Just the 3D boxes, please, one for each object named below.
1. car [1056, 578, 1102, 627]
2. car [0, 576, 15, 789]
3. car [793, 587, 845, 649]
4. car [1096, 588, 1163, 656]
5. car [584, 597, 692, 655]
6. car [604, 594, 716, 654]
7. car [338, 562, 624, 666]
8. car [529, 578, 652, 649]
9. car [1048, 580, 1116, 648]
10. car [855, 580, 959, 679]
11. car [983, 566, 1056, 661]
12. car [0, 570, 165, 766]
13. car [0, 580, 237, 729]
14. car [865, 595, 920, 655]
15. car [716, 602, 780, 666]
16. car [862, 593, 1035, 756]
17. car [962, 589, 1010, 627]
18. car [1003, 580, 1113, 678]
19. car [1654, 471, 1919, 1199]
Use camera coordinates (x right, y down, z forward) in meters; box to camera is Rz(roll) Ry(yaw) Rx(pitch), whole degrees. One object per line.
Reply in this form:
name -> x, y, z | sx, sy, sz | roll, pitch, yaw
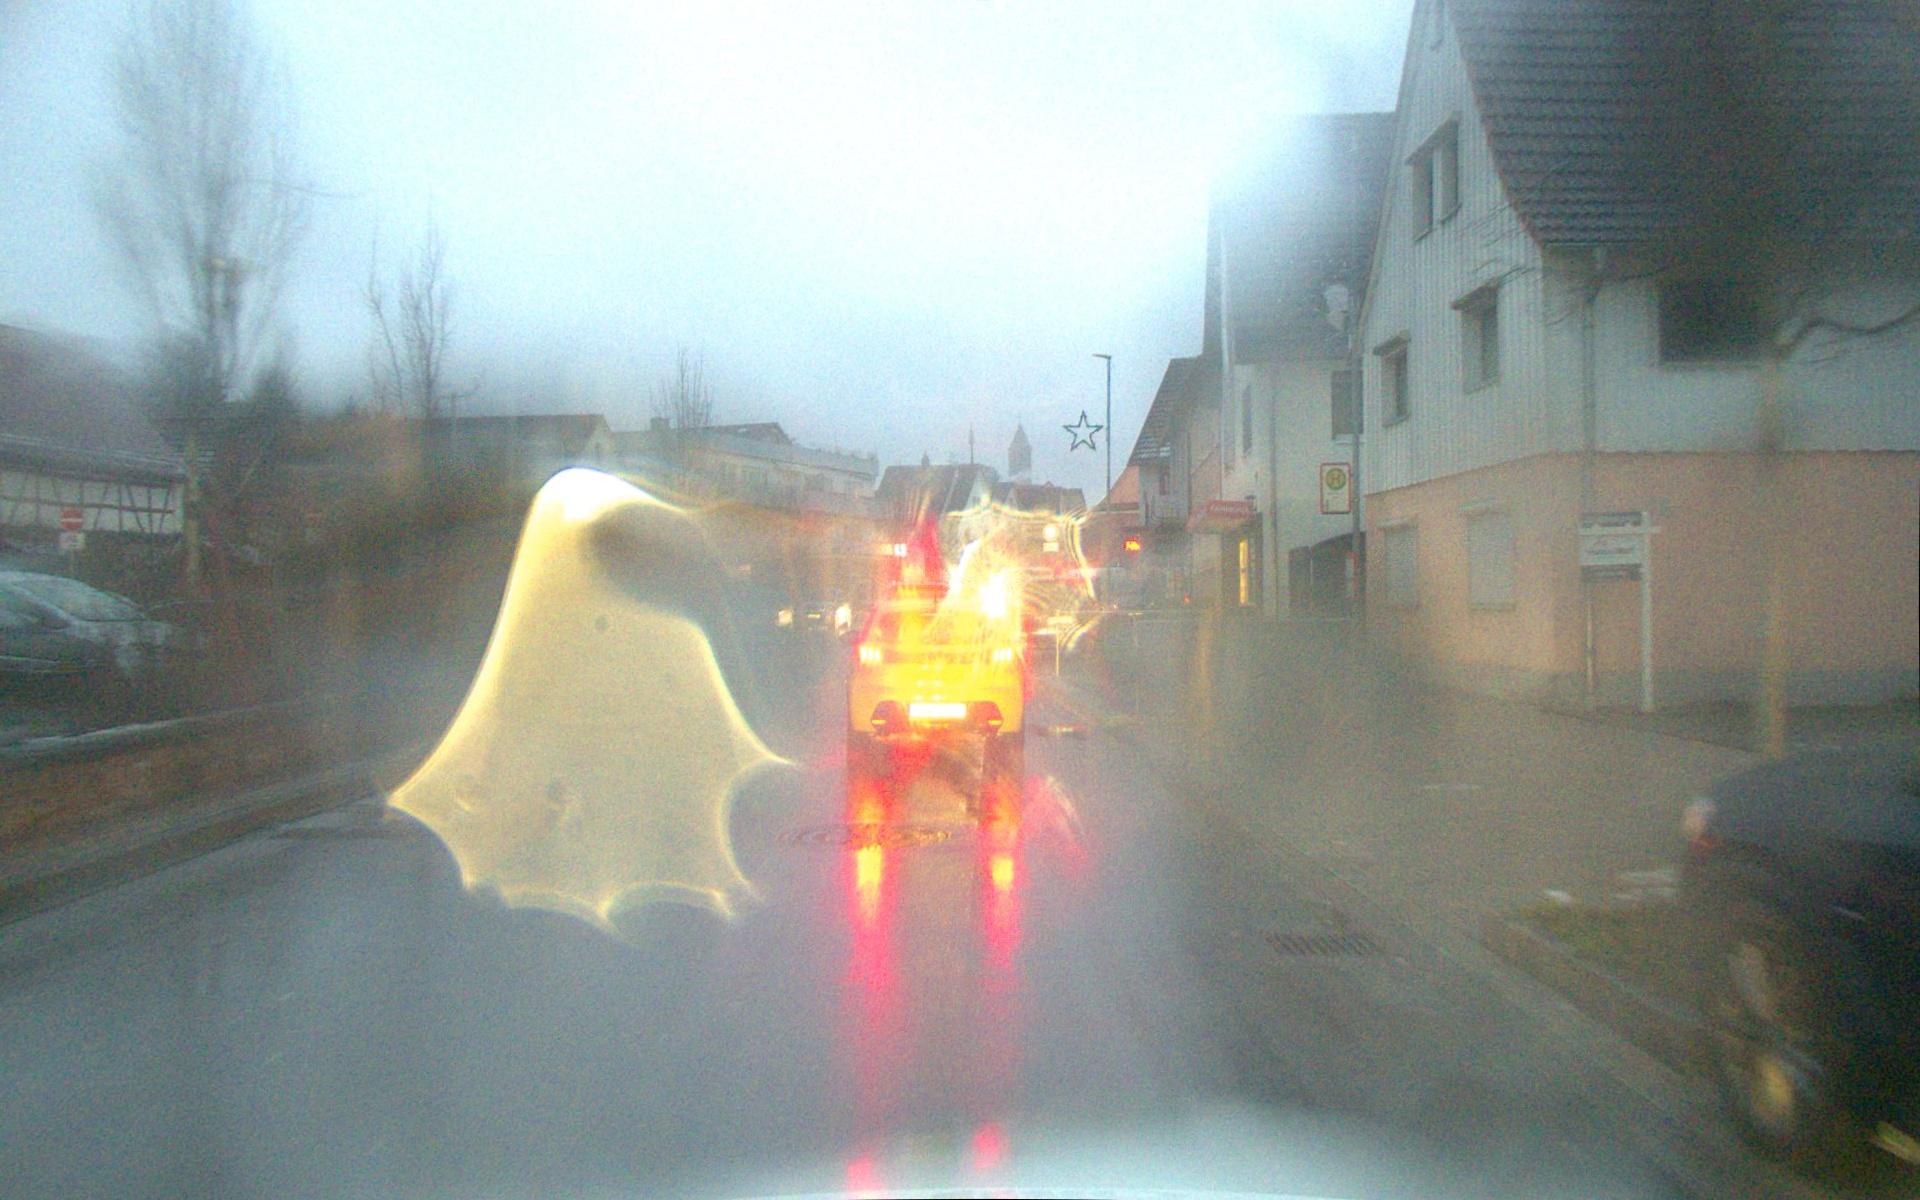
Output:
car -> 5.050, 0.133, 69.874 | 1.831, 1.867, 4.445 | 1, -2, 5
car -> -9.659, 0.624, 12.463 | 4.110, 1.681, 1.680 | 1, 0, 2
car -> -5.523, 0.740, 65.011 | 1.881, 2.254, 3.972 | 1, -2, -4
car -> 6.067, 0.817, 59.505 | 1.953, 2.288, 3.999 | 1, -2, 0
car -> -11.884, 0.968, 60.924 | 4.095, 2.011, 1.811 | -1, -3, 43
car -> -11.558, 0.930, 63.592 | 4.308, 2.204, 1.987 | -1, -3, 43
car -> -9.598, 0.267, 33.266 | 5.281, 1.849, 1.713 | 2, 0, 12
car -> -12.704, 0.500, 56.817 | 4.308, 2.291, 1.987 | -1, -3, 43
car -> 3.924, 0.499, 53.925 | 1.832, 2.033, 4.442 | 1, -2, 0
car -> -0.914, 0.506, 30.153 | 1.730, 1.657, 3.586 | 1, 0, 0
car -> 1.642, 0.439, 46.949 | 1.832, 2.512, 4.442 | 1, -2, 0
car -> -9.689, 0.573, 15.070 | 4.080, 1.673, 1.659 | 0, -1, 2
car -> -9.853, 0.546, 17.664 | 3.471, 1.472, 1.710 | 1, -1, 2
car -> -2.552, 0.996, 63.705 | 1.953, 2.149, 3.999 | 1, -2, -1
car -> -7.258, 1.210, 57.047 | 1.881, 2.063, 3.972 | 1, -2, -4
car -> -0.143, 0.672, 16.421 | 1.531, 1.437, 3.016 | 1, 0, -2
car -> 1.193, 0.379, 74.269 | 1.455, 1.553, 3.417 | 1, -2, 12
car -> 1.982, 0.595, 34.518 | 1.957, 1.897, 4.081 | 1, -1, -1
car -> 2.957, 0.573, 2.647 | 1.700, 1.722, 4.384 | 0, 0, -2
